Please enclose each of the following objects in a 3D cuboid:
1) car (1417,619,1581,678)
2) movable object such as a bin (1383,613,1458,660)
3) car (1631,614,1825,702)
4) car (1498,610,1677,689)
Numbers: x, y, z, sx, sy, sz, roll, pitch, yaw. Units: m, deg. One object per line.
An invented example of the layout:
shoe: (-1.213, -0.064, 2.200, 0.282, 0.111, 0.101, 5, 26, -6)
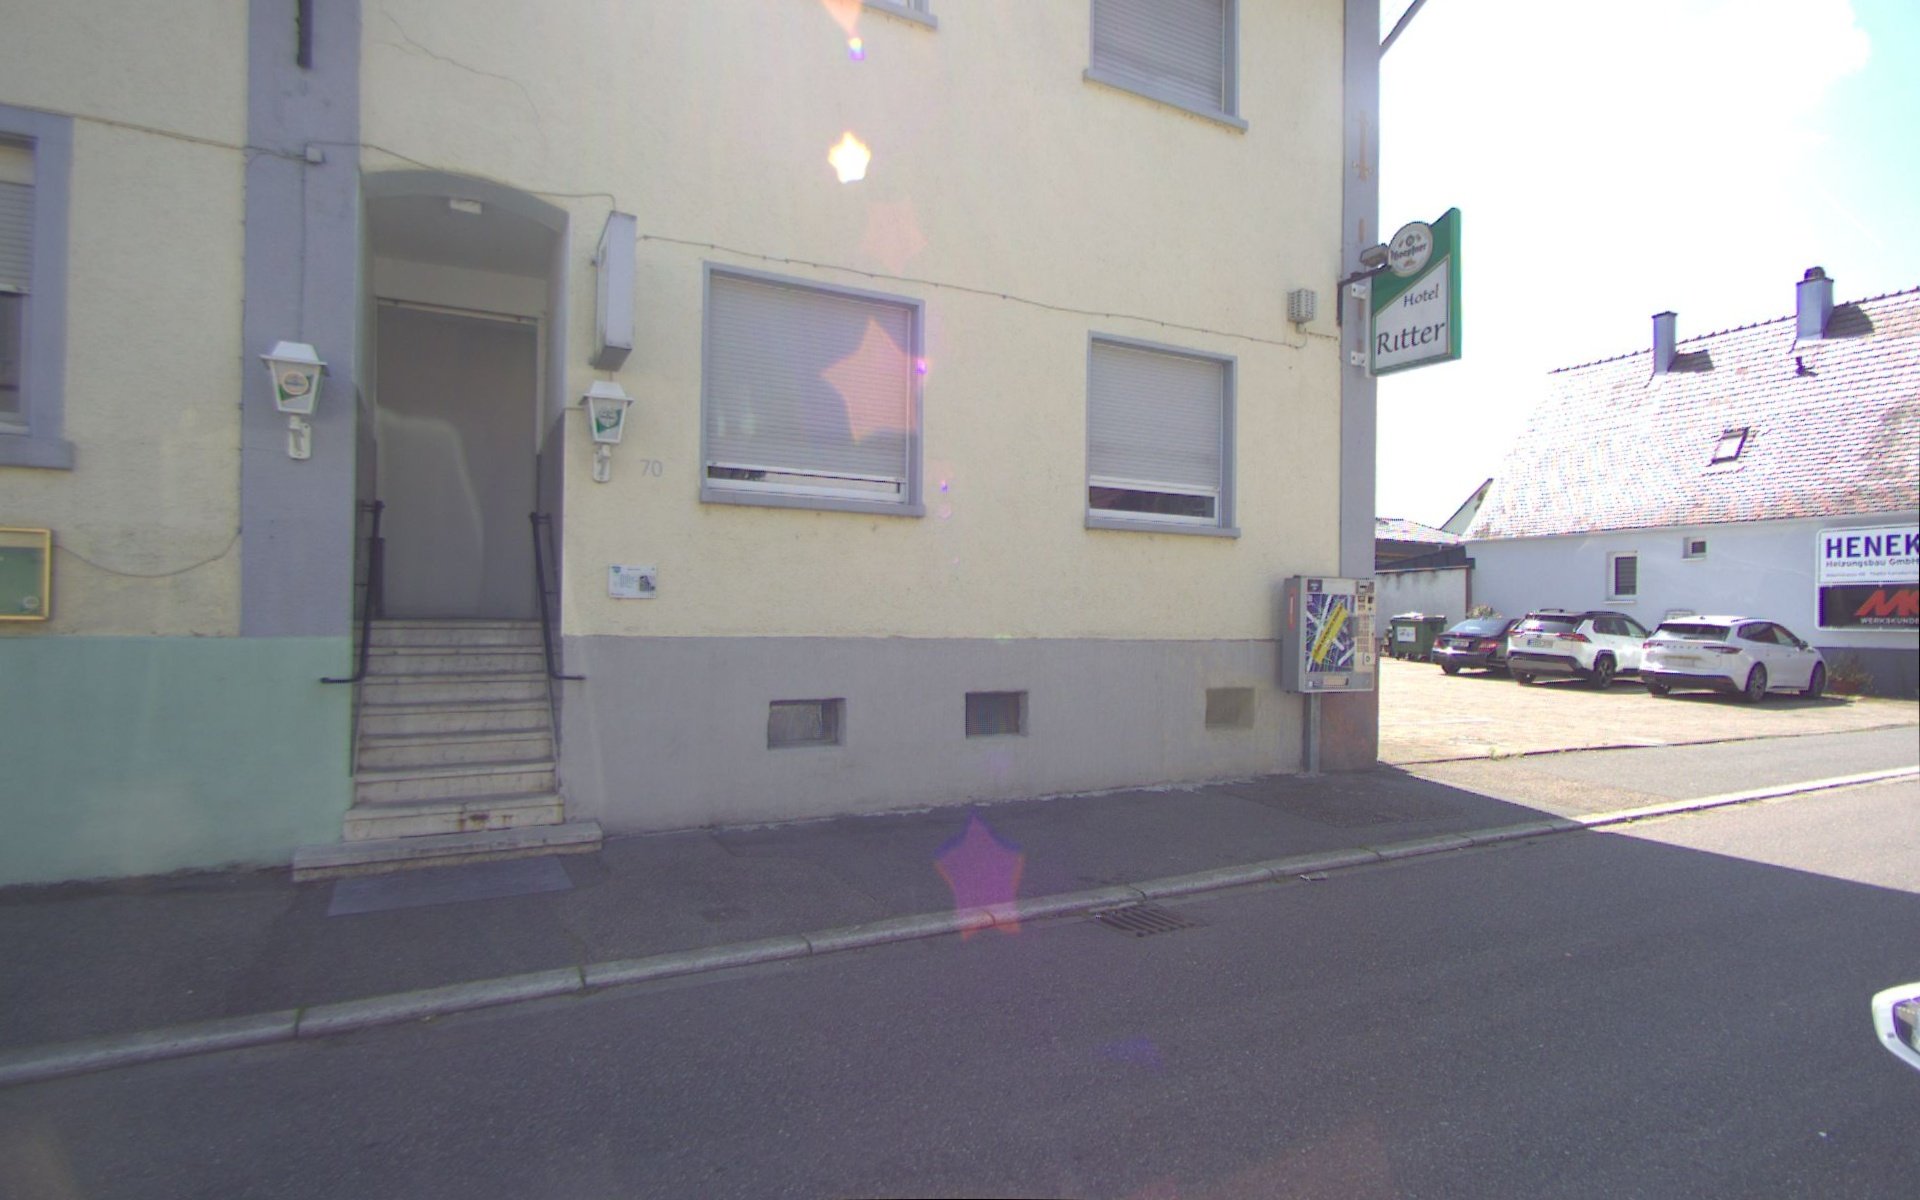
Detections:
car: (13.419, 1.179, 24.949, 4.151, 1.298, 1.710, 1, 0, -31)
movable object such as a bin: (13.568, 1.057, 29.639, 1.544, 1.342, 1.368, 1, -1, -28)
car: (15.544, 1.118, 20.287, 4.151, 1.577, 1.710, 1, 0, -31)
car: (14.076, 1.065, 22.487, 4.151, 1.577, 1.710, 1, 0, -31)
